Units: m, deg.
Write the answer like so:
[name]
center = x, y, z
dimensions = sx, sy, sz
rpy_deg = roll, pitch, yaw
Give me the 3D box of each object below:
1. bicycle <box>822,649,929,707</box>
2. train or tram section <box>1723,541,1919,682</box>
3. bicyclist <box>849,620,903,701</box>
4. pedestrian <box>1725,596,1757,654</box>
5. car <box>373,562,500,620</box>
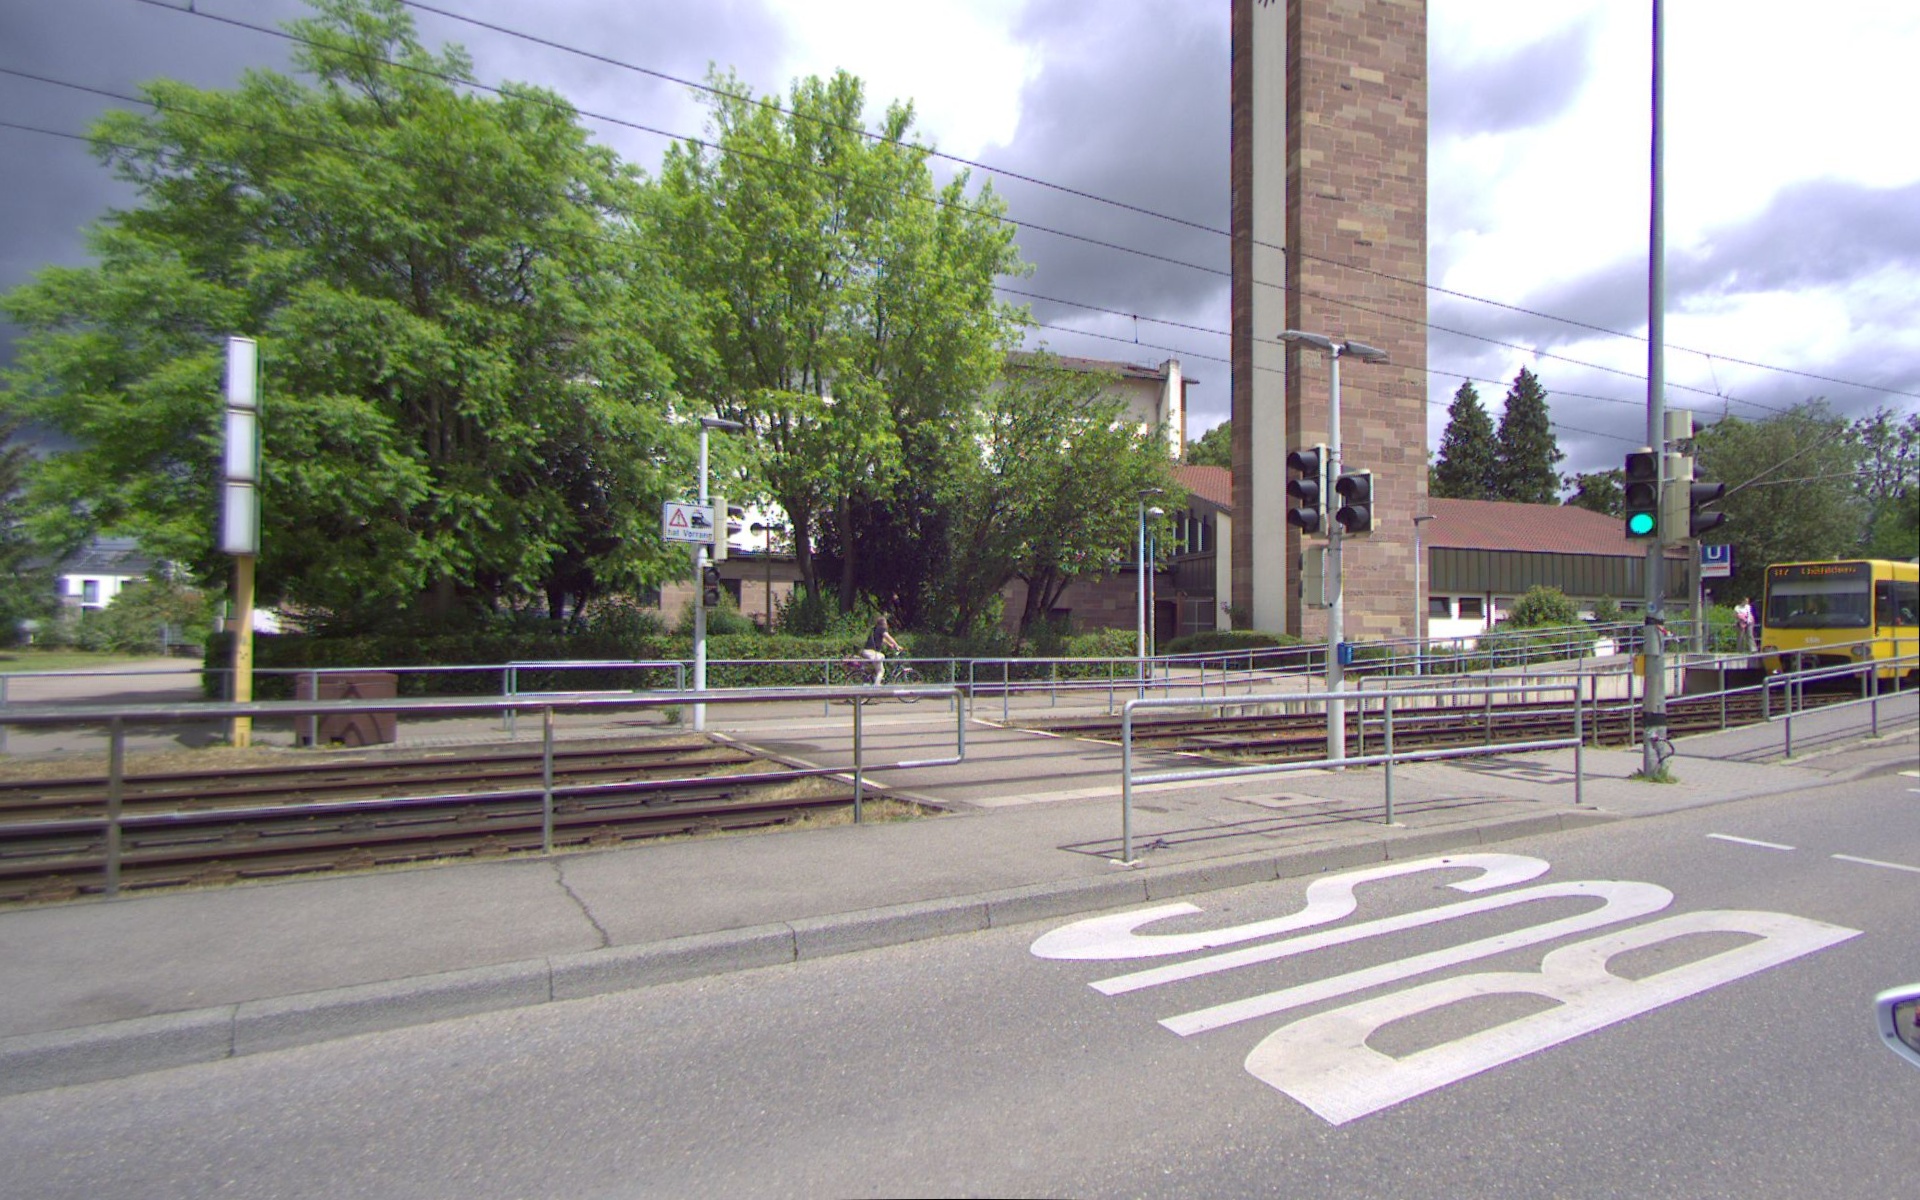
[bicycle]
center = -1.562, 1.426, 18.729
dimensions = 1.906, 1.007, 0.634
rpy_deg = 2, 0, -31
[train or tram section]
center = 29.850, 0.520, 31.139
dimensions = 18.607, 3.511, 3.092
rpy_deg = 2, 0, -31
[bicyclist]
center = -1.570, 1.110, 18.718
dimensions = 0.781, 1.448, 0.630
rpy_deg = 1, 0, -30
[pedestrian]
center = 24.331, 0.770, 31.297
dimensions = 0.569, 1.801, 0.581
rpy_deg = 1, 0, -30
[car]
center = -19.797, -0.305, 38.155
dimensions = 3.936, 2.040, 1.993
rpy_deg = 1, -2, -18
